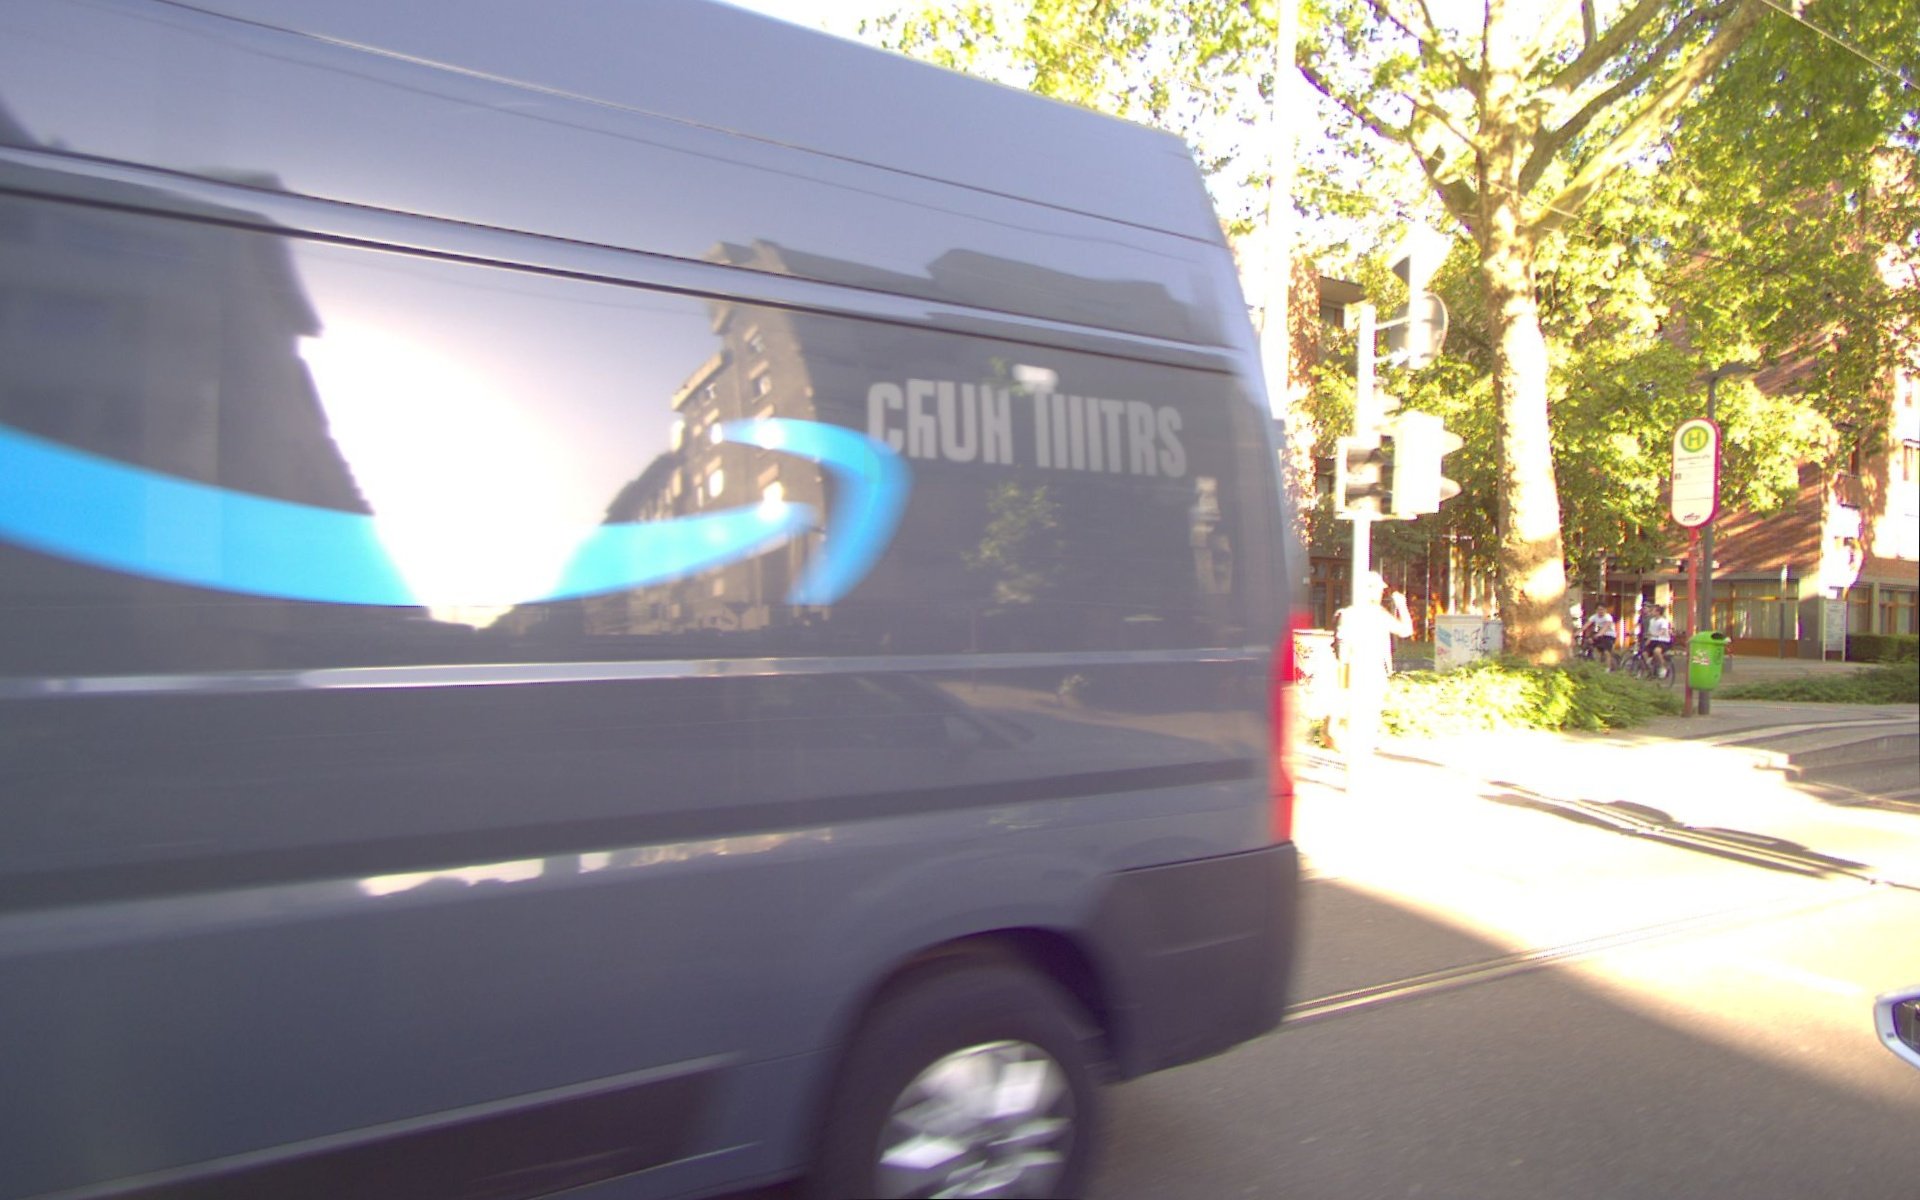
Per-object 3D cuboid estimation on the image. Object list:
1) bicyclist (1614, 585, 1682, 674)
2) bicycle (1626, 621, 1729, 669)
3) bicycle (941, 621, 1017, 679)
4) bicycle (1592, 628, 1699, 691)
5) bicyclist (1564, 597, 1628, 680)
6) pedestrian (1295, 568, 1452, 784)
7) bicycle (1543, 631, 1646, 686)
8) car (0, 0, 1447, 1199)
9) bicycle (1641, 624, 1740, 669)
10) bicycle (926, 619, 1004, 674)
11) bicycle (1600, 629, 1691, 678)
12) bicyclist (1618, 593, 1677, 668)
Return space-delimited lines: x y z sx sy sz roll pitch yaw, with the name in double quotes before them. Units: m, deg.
"bicyclist" 14.242 0.601 20.797 0.940 1.786 0.778 2 1 -30
"bicycle" 21.464 1.331 30.113 0.673 1.235 2.449 2 2 -26
"bicycle" 0.397 1.025 20.896 1.518 1.099 0.539 -1 2 -29
"bicycle" 14.229 1.234 20.819 2.566 1.207 0.778 2 0 -30
"bicyclist" 13.936 0.836 22.017 0.986 1.773 0.771 2 1 -29
"pedestrian" 3.791 0.656 9.244 0.910 1.860 0.919 2 1 -31
"bicycle" 13.919 1.280 22.012 2.566 1.125 0.778 2 0 -30
"car" -1.943 -0.014 2.049 6.038 2.774 2.105 2 -1 -28
"bicycle" 22.007 1.389 30.323 0.673 1.182 2.332 2 1 -26
"bicycle" 0.112 0.978 21.452 1.618 1.099 0.539 -1 2 -29
"bicycle" 16.676 1.300 24.429 2.566 1.125 0.778 2 0 -30
"bicyclist" 16.739 0.746 24.456 0.986 1.773 0.771 2 1 -29
